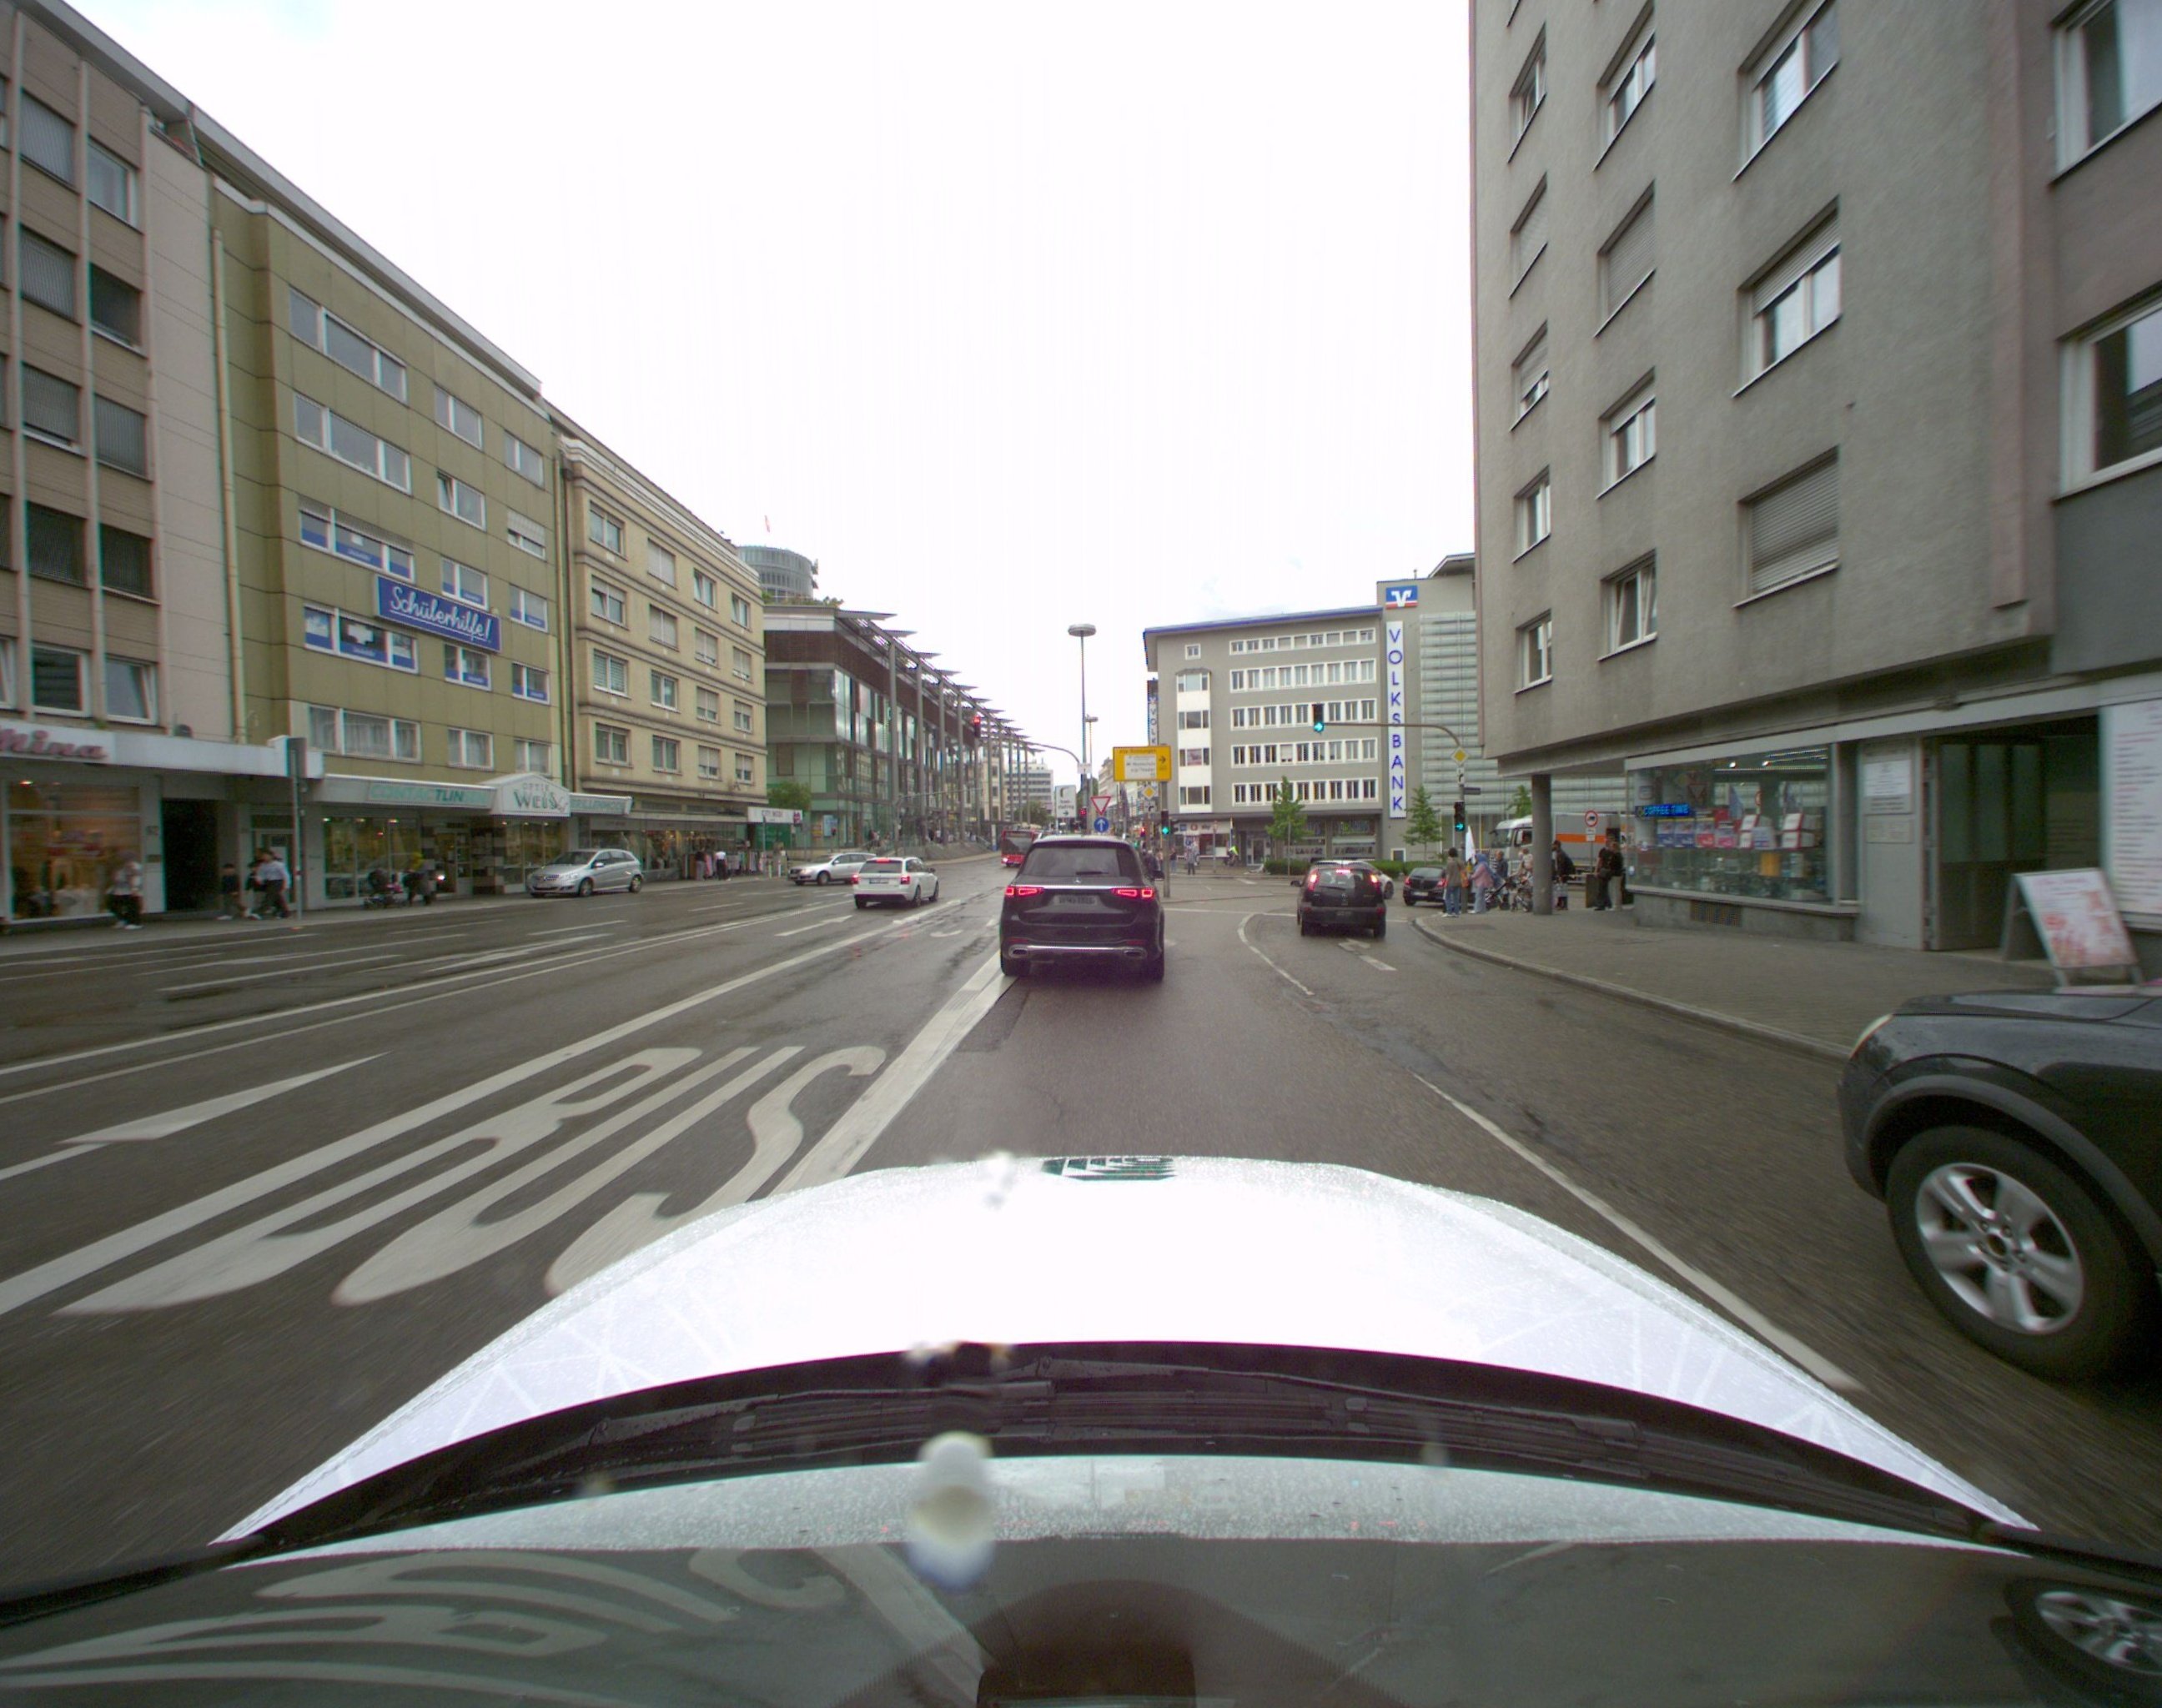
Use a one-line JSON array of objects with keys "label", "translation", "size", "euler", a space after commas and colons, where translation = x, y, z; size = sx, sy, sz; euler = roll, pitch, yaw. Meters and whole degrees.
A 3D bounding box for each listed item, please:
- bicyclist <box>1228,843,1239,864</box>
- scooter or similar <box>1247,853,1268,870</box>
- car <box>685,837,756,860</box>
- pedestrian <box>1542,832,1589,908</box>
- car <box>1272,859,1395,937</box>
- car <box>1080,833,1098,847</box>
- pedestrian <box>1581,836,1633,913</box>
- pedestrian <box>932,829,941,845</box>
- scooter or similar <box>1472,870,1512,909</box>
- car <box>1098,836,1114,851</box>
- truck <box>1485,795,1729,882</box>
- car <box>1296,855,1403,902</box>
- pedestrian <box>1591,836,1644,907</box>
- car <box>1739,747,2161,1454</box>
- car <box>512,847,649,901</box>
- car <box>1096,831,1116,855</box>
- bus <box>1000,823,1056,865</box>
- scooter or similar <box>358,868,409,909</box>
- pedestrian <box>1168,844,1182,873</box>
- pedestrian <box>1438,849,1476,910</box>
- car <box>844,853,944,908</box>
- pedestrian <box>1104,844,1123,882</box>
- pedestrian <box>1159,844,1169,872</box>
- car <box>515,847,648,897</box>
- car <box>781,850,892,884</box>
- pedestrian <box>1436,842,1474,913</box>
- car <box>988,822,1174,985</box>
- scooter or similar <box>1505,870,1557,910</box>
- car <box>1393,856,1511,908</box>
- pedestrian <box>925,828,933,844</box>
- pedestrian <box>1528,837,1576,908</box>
[{"label": "bicyclist", "translation": [12.137, -0.029, 64.749], "size": [0.838, 1.704, 0.626], "euler": [-1, 0, 16]}, {"label": "scooter or similar", "translation": [12.503, 0.512, 57.729], "size": [1.368, 1.187, 0.547], "euler": [-1, 0, 21]}, {"label": "car", "translation": [-25.763, -0.403, 58.294], "size": [4.280, 1.546, 1.800], "euler": [2, 1, -8]}, {"label": "pedestrian", "translation": [12.672, 0.419, 21.320], "size": [0.813, 1.931, 0.734], "euler": [-1, -1, 10]}, {"label": "car", "translation": [5.173, 0.836, 17.158], "size": [1.709, 1.420, 3.775], "euler": [1, 0, 5]}, {"label": "car", "translation": [1.197, -1.993, 116.152], "size": [2.413, 1.780, 5.157], "euler": [1, 1, 2]}, {"label": "pedestrian", "translation": [13.032, 0.496, 20.197], "size": [0.666, 1.866, 0.833], "euler": [1, 0, -18]}, {"label": "pedestrian", "translation": [-15.462, -1.782, 87.280], "size": [0.825, 1.713, 0.801], "euler": [0, 0, -3]}, {"label": "scooter or similar", "translation": [12.112, 1.045, 24.014], "size": [0.961, 1.109, 0.658], "euler": [-3, -1, 21]}, {"label": "car", "translation": [3.020, -1.276, 99.539], "size": [1.855, 1.826, 4.103], "euler": [1, 1, 0]}, {"label": "truck", "translation": [27.384, -0.831, 42.832], "size": [10.682, 4.333, 2.860], "euler": [0, 0, 5]}, {"label": "car", "translation": [10.394, 0.896, 31.436], "size": [4.018, 1.573, 1.935], "euler": [0, 3, -36]}, {"label": "pedestrian", "translation": [12.821, 0.427, 19.475], "size": [0.612, 1.637, 0.839], "euler": [-4, -3, 6]}, {"label": "car", "translation": [3.626, 0.615, 1.218], "size": [1.900, 1.785, 4.304], "euler": [-2, 1, 2]}, {"label": "car", "translation": [-16.875, 0.604, 27.760], "size": [1.840, 1.550, 4.402], "euler": [2, 2, 2]}, {"label": "car", "translation": [3.193, -1.461, 106.100], "size": [2.436, 2.957, 6.153], "euler": [1, 1, 0]}, {"label": "bus", "translation": [-4.424, -0.861, 73.051], "size": [2.908, 3.320, 18.492], "euler": [1, 0, 3]}, {"label": "scooter or similar", "translation": [-18.633, 0.912, 21.762], "size": [0.734, 1.054, 0.701], "euler": [1, 1, 0]}, {"label": "pedestrian", "translation": [5.584, 0.243, 48.459], "size": [0.776, 1.689, 0.641], "euler": [1, 0, 11]}, {"label": "pedestrian", "translation": [10.319, 0.711, 22.390], "size": [0.537, 1.637, 0.838], "euler": [-4, -4, 2]}, {"label": "car", "translation": [-5.421, 0.712, 24.266], "size": [1.785, 1.415, 4.633], "euler": [0, 1, 2]}, {"label": "pedestrian", "translation": [1.472, 0.396, 36.991], "size": [0.752, 1.692, 0.695], "euler": [1, -1, 7]}, {"label": "pedestrian", "translation": [4.923, 0.233, 48.502], "size": [0.566, 1.668, 0.503], "euler": [0, 0, 9]}, {"label": "car", "translation": [-16.830, 0.542, 27.705], "size": [1.692, 1.563, 4.207], "euler": [0, 1, 4]}, {"label": "car", "translation": [-11.146, 0.548, 37.429], "size": [1.768, 1.445, 4.784], "euler": [1, 1, 36]}, {"label": "pedestrian", "translation": [9.092, 0.569, 19.809], "size": [0.620, 1.692, 0.787], "euler": [-3, -2, 37]}, {"label": "car", "translation": [0.206, 0.510, 11.551], "size": [2.077, 1.817, 4.800], "euler": [0, 1, 5]}, {"label": "scooter or similar", "translation": [11.796, 0.947, 21.379], "size": [0.767, 0.986, 1.048], "euler": [-2, -3, 2]}, {"label": "car", "translation": [12.899, 0.915, 28.263], "size": [4.016, 1.573, 1.936], "euler": [0, 3, -35]}, {"label": "pedestrian", "translation": [-16.241, -1.902, 87.128], "size": [0.679, 1.713, 0.849], "euler": [0, 0, -3]}, {"label": "pedestrian", "translation": [11.860, 0.474, 20.529], "size": [0.830, 1.723, 0.619], "euler": [-2, -3, 10]}]
